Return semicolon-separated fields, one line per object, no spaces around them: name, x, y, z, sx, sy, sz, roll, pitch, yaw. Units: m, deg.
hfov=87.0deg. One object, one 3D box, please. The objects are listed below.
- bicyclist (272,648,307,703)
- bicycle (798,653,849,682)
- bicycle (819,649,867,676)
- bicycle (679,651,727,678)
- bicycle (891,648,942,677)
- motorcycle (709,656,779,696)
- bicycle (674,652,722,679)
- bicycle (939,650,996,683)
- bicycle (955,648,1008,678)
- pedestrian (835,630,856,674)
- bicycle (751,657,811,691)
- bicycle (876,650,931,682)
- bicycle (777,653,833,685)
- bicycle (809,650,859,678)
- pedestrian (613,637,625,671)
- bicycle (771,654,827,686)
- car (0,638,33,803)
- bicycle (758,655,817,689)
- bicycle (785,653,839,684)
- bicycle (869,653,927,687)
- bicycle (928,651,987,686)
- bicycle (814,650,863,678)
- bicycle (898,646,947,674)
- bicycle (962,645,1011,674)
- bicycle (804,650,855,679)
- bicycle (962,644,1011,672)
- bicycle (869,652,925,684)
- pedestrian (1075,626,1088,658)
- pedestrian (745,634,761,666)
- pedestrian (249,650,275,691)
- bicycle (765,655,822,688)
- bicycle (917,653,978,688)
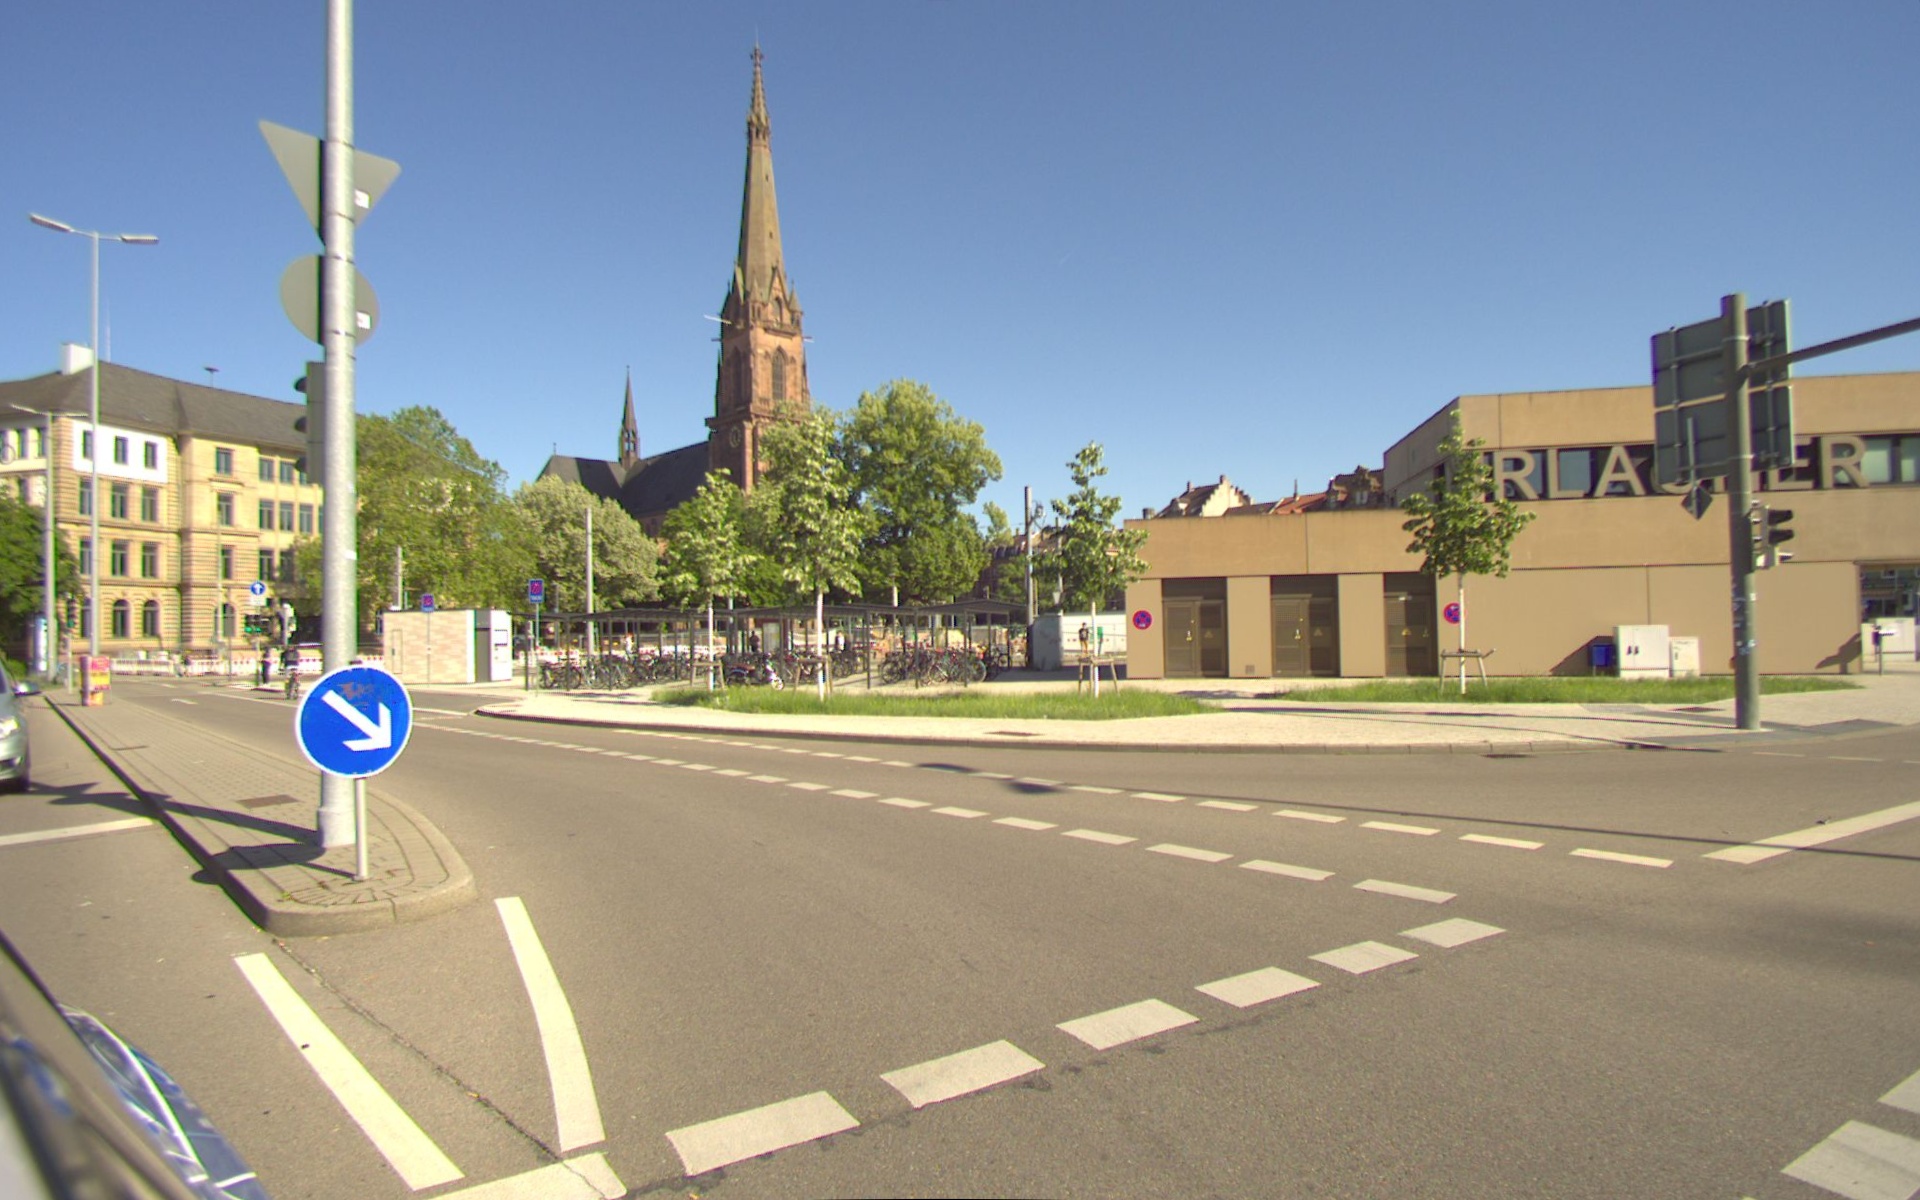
bicyclist;-20.408;2.281;30.793;0.711;1.633;0.978;2;-4;-44
bicycle;-4.909;2.432;36.426;1.767;1.046;0.566;-1;-3;9
bicycle;-4.510;2.413;39.034;1.767;1.046;0.566;-1;-3;9
bicycle;-10.182;2.544;40.149;1.767;1.046;0.566;-1;-3;9
bicycle;-1.556;2.255;36.605;1.767;1.046;0.566;-1;-3;9
motorcycle;-6.437;2.265;30.193;1.965;1.128;0.592;-2;-2;13
bicycle;-10.232;2.545;39.519;1.767;1.046;0.566;-1;-3;9
bicycle;0.243;2.141;32.584;1.772;1.046;0.565;-1;-3;17
bicycle;0.746;2.199;35.284;1.767;1.046;0.566;-1;-3;9
pedestrian;-4.645;2.109;40.952;0.674;1.736;0.616;-2;-2;8
bicycle;-5.610;2.306;31.718;1.767;1.046;0.566;-1;-3;9
bicycle;-1.910;2.246;34.366;1.767;1.046;0.566;-1;-3;9
bicycle;-5.257;2.341;34.339;1.767;1.046;0.566;-1;-3;9
bicycle;-4.700;2.381;37.779;1.767;1.046;0.566;-1;-3;9
pedestrian;-17.979;2.839;53.358;0.530;1.736;0.683;-2;-6;-14
bicycle;-5.347;2.327;33.710;1.767;1.046;0.566;-1;-3;9
car;-11.451;1.289;11.183;1.745;1.606;4.643;-1;-2;-43
bicycle;-5.506;2.295;32.375;1.767;1.046;0.566;-1;-3;9
bicycle;-5.134;2.356;35.017;1.767;1.046;0.566;-1;-3;9
bicycle;-1.954;2.226;32.076;1.767;1.046;0.566;-1;-3;9
bicycle;-0.070;2.121;31.445;1.767;1.046;0.566;-1;-3;9
bicycle;-4.599;2.413;38.403;1.767;1.046;0.566;-1;-3;9
bicycle;-1.415;2.263;38.011;1.767;1.046;0.566;-1;-3;9
bicycle;0.997;2.198;37.553;1.767;1.046;0.566;-1;-3;9
bicycle;-4.804;2.380;37.185;1.767;1.046;0.566;-1;-3;9
bicycle;1.008;2.201;38.270;1.767;1.046;0.566;-1;-3;9
bicycle;-2.076;2.249;33.383;1.767;1.046;0.566;-1;-3;9
pedestrian;5.909;2.043;49.217;0.582;1.530;0.558;-2;-2;11
pedestrian;-11.157;2.685;54.555;0.559;1.667;0.519;-2;-1;-43
pedestrian;-30.084;3.042;43.625;0.778;1.693;0.649;-2;-1;-42
bicycle;-5.426;2.327;32.971;1.767;1.046;0.566;-1;-3;9
bicycle;-0.382;2.124;30.537;1.767;1.046;0.566;-1;-3;9
